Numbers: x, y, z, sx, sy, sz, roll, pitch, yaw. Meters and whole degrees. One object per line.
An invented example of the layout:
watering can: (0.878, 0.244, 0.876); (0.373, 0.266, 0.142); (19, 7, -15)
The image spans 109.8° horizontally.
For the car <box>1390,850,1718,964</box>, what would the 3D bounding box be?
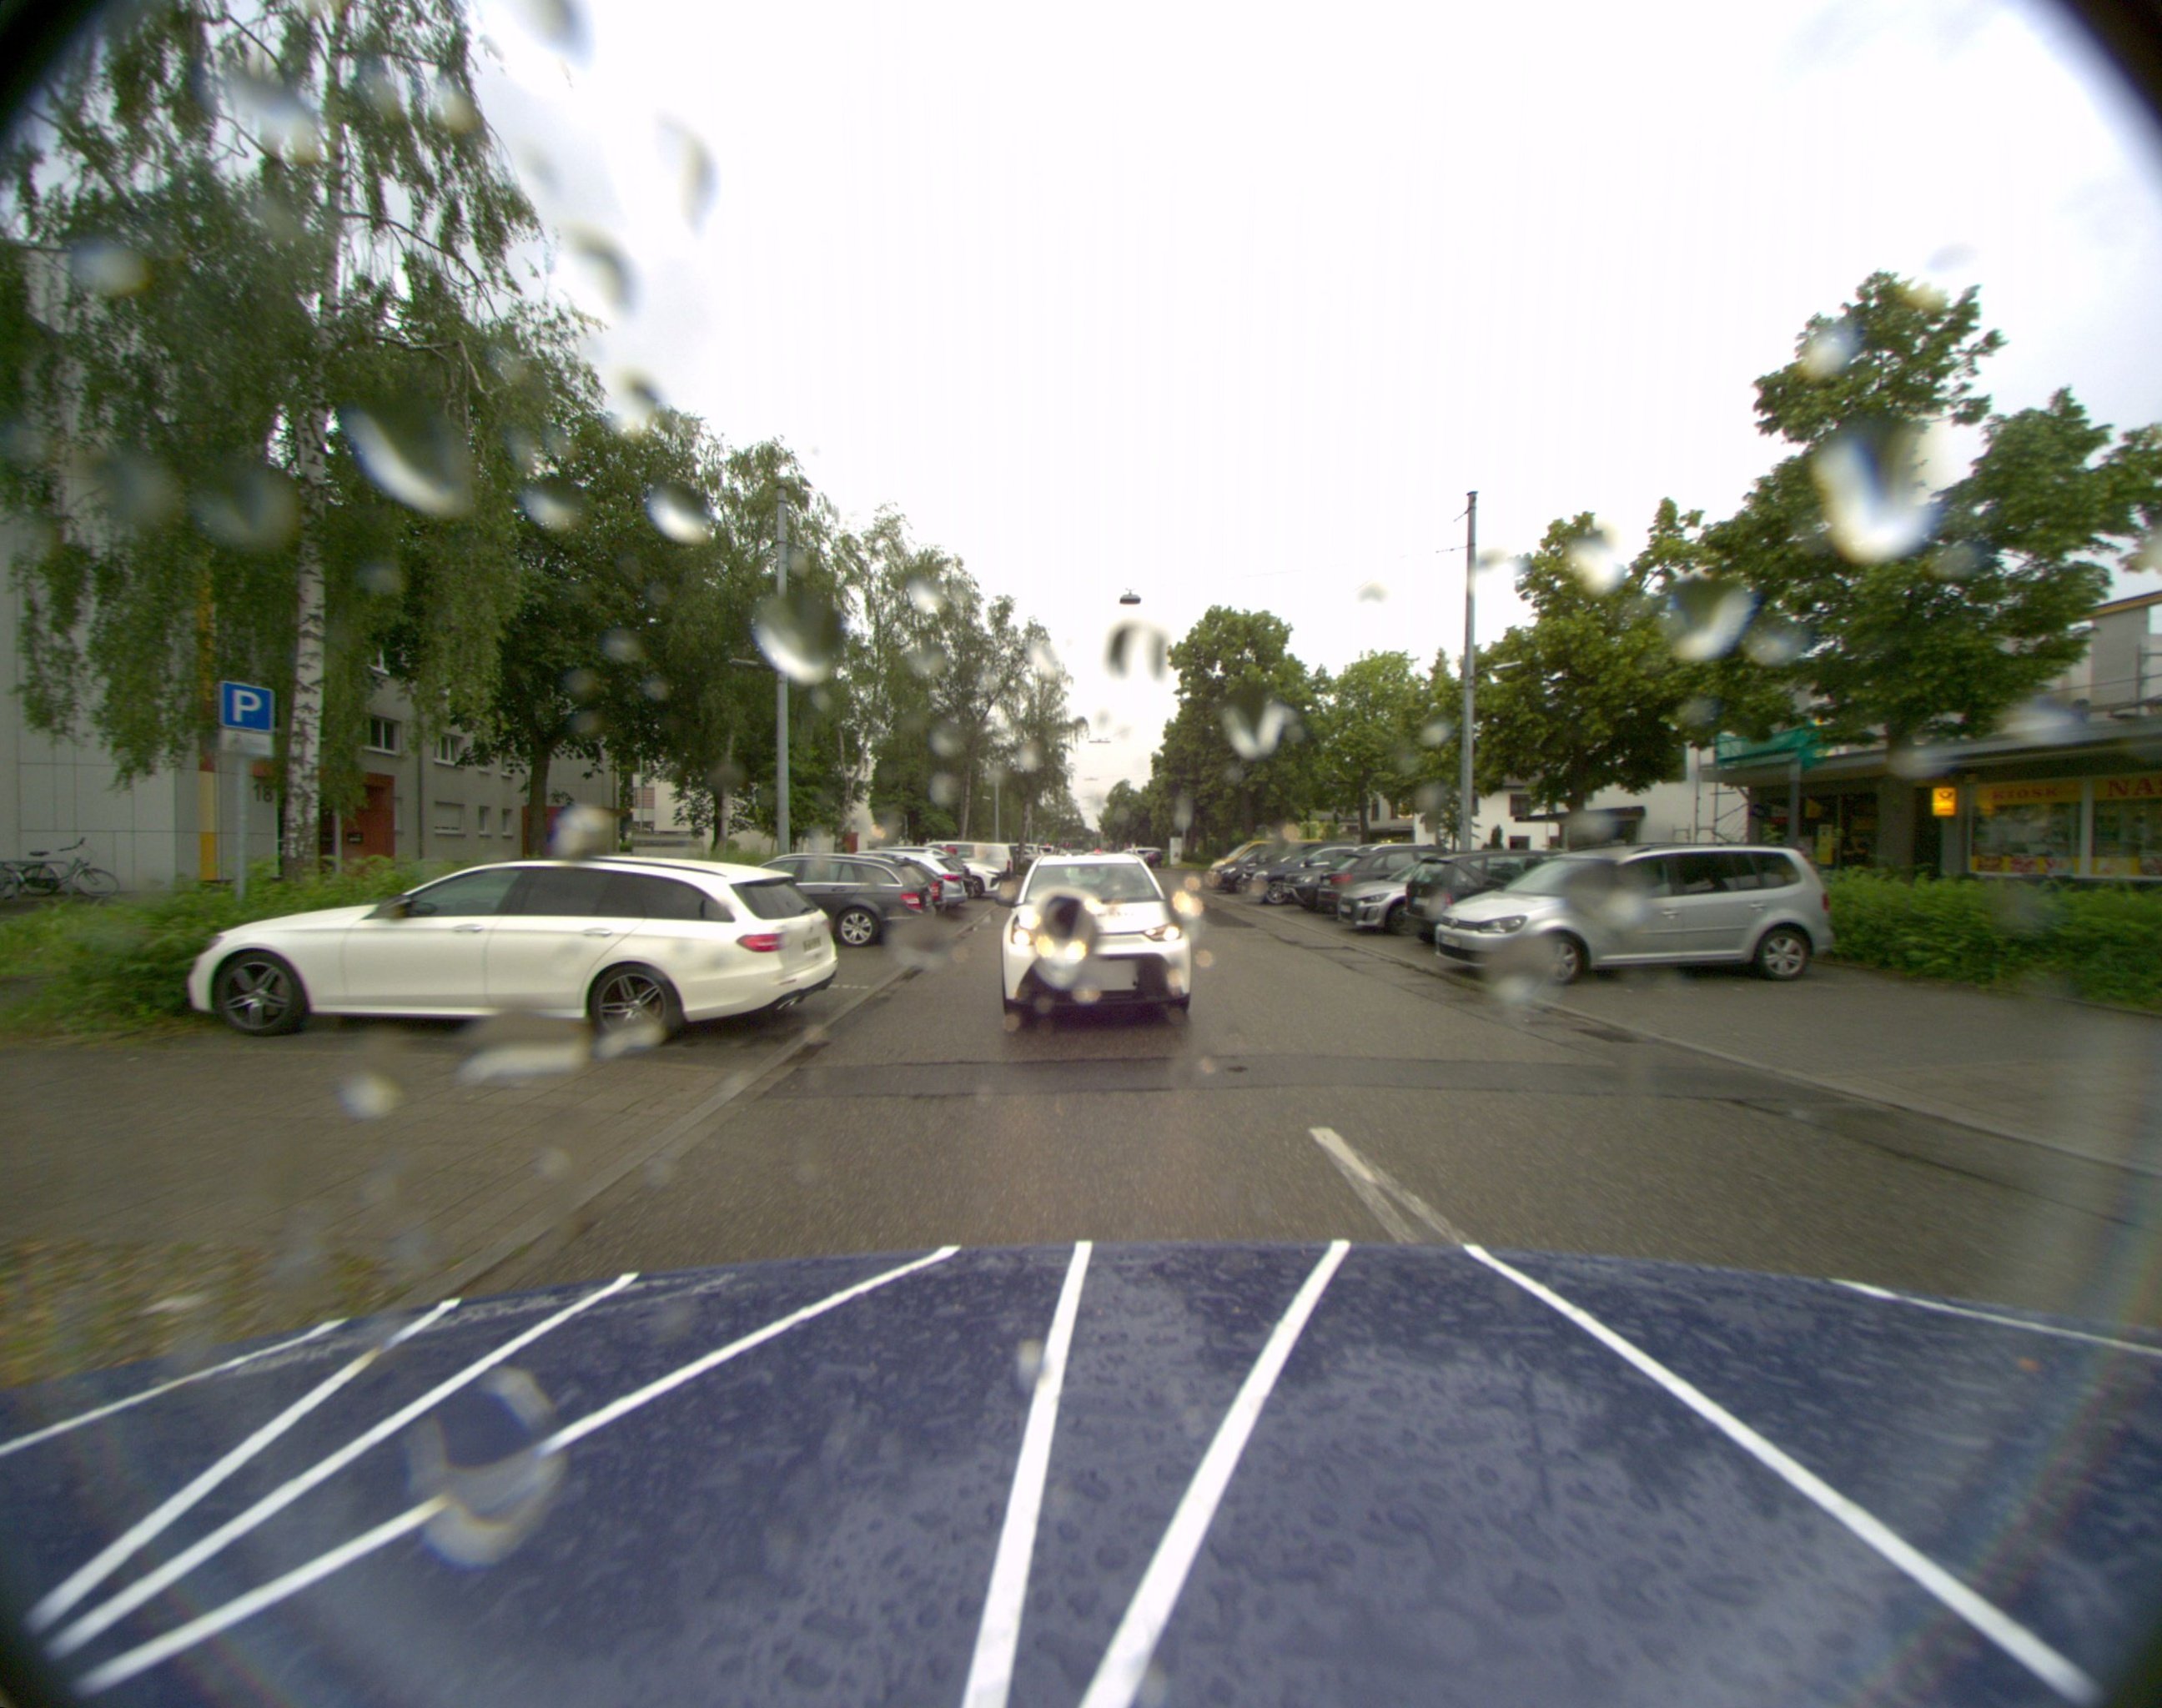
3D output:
car: (7.442, 0.789, 12.216); (4.283, 1.557, 1.635); (-2, 1, -1)

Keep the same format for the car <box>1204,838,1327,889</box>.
car: (7.550, 0.365, 31.356); (4.656, 1.947, 1.715); (-1, 1, -2)

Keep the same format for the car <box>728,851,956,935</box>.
car: (-4.701, 0.742, 15.366); (4.049, 1.431, 1.680); (2, 1, -2)

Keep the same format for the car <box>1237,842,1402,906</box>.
car: (6.935, 0.547, 22.374); (4.283, 1.717, 1.715); (-1, 1, -2)

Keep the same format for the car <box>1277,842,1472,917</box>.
car: (7.347, 0.611, 19.278); (4.283, 1.717, 1.715); (-1, 1, -2)

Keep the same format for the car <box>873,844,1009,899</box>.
car: (-4.638, 0.547, 25.493); (4.179, 1.609, 1.680); (2, 1, 2)

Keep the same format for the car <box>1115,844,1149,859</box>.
car: (6.394, -0.345, 94.774); (3.998, 1.675, 1.999); (-2, 1, -2)

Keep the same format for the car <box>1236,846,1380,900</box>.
car: (7.547, 0.602, 25.469); (4.283, 1.618, 1.715); (-1, 1, -2)

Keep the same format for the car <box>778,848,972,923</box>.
car: (-4.692, 0.698, 17.748); (4.049, 1.488, 1.680); (2, 1, -2)

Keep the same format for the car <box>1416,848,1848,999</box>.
car: (6.766, 0.796, 9.639); (4.283, 1.625, 1.715); (-1, 1, -2)

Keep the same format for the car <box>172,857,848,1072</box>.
car: (-4.633, 0.854, 6.653); (4.623, 1.431, 1.680); (2, 1, 0)

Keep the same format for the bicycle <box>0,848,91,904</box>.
bicycle: (-19.859, 0.405, 14.054); (0.705, 0.986, 1.942); (-2, 1, -10)

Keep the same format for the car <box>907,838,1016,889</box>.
car: (-4.764, 0.354, 30.741); (4.182, 1.856, 1.679); (2, 1, -5)

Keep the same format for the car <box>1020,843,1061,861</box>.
car: (-4.229, -0.201, 79.543); (3.995, 1.670, 1.902); (-2, 1, 5)

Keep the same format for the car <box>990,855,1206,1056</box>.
car: (0.080, 0.839, 8.341); (1.733, 1.519, 4.138); (-2, 1, -2)

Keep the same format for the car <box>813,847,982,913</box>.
car: (-4.778, 0.658, 20.152); (4.049, 1.488, 1.680); (2, 1, -2)

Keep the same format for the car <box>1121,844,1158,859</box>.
car: (6.772, -0.304, 88.212); (3.998, 1.675, 1.999); (-2, 1, -2)

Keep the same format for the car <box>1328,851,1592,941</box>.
car: (7.216, 0.764, 14.746); (4.283, 1.523, 1.715); (-1, 1, -2)

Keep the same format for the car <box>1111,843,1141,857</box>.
car: (6.122, -0.562, 103.636); (3.998, 1.675, 1.999); (-2, 1, -2)

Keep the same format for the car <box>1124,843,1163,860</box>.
car: (6.858, -0.260, 83.211); (3.998, 1.675, 1.999); (-2, 1, -2)

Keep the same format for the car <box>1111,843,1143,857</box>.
car: (6.155, -0.522, 101.403); (3.998, 1.675, 1.999); (-2, 1, -2)

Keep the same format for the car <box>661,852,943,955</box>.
car: (-4.490, 0.780, 12.669); (4.049, 1.431, 1.680); (2, 1, -2)

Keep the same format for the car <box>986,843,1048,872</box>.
car: (-4.494, 0.227, 53.892); (3.995, 1.903, 1.902); (-2, 1, 5)

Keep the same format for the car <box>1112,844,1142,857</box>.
car: (6.384, -0.527, 106.077); (3.998, 1.675, 1.999); (-2, 1, -2)

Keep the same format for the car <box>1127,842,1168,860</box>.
car: (7.044, -0.342, 80.644); (3.998, 1.675, 1.999); (-2, 1, -2)

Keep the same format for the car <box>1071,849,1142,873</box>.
car: (1.627, 0.481, 49.677); (4.245, 1.446, 2.004); (-1, 2, 39)

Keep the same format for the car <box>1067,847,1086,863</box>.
car: (-0.476, 0.094, 88.164); (1.998, 1.804, 3.999); (-2, 1, 1)

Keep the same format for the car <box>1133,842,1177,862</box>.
car: (7.081, -0.208, 73.157); (3.998, 1.675, 1.999); (-2, 1, -2)

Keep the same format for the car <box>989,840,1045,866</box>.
car: (-4.917, -0.085, 58.750); (3.995, 1.903, 1.902); (-2, 1, 5)

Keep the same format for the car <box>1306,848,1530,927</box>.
car: (7.486, 0.704, 17.137); (4.283, 1.586, 1.715); (-1, 1, -2)

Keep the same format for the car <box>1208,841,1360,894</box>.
car: (7.457, 0.466, 28.247); (5.177, 1.789, 1.715); (-1, 1, -2)
